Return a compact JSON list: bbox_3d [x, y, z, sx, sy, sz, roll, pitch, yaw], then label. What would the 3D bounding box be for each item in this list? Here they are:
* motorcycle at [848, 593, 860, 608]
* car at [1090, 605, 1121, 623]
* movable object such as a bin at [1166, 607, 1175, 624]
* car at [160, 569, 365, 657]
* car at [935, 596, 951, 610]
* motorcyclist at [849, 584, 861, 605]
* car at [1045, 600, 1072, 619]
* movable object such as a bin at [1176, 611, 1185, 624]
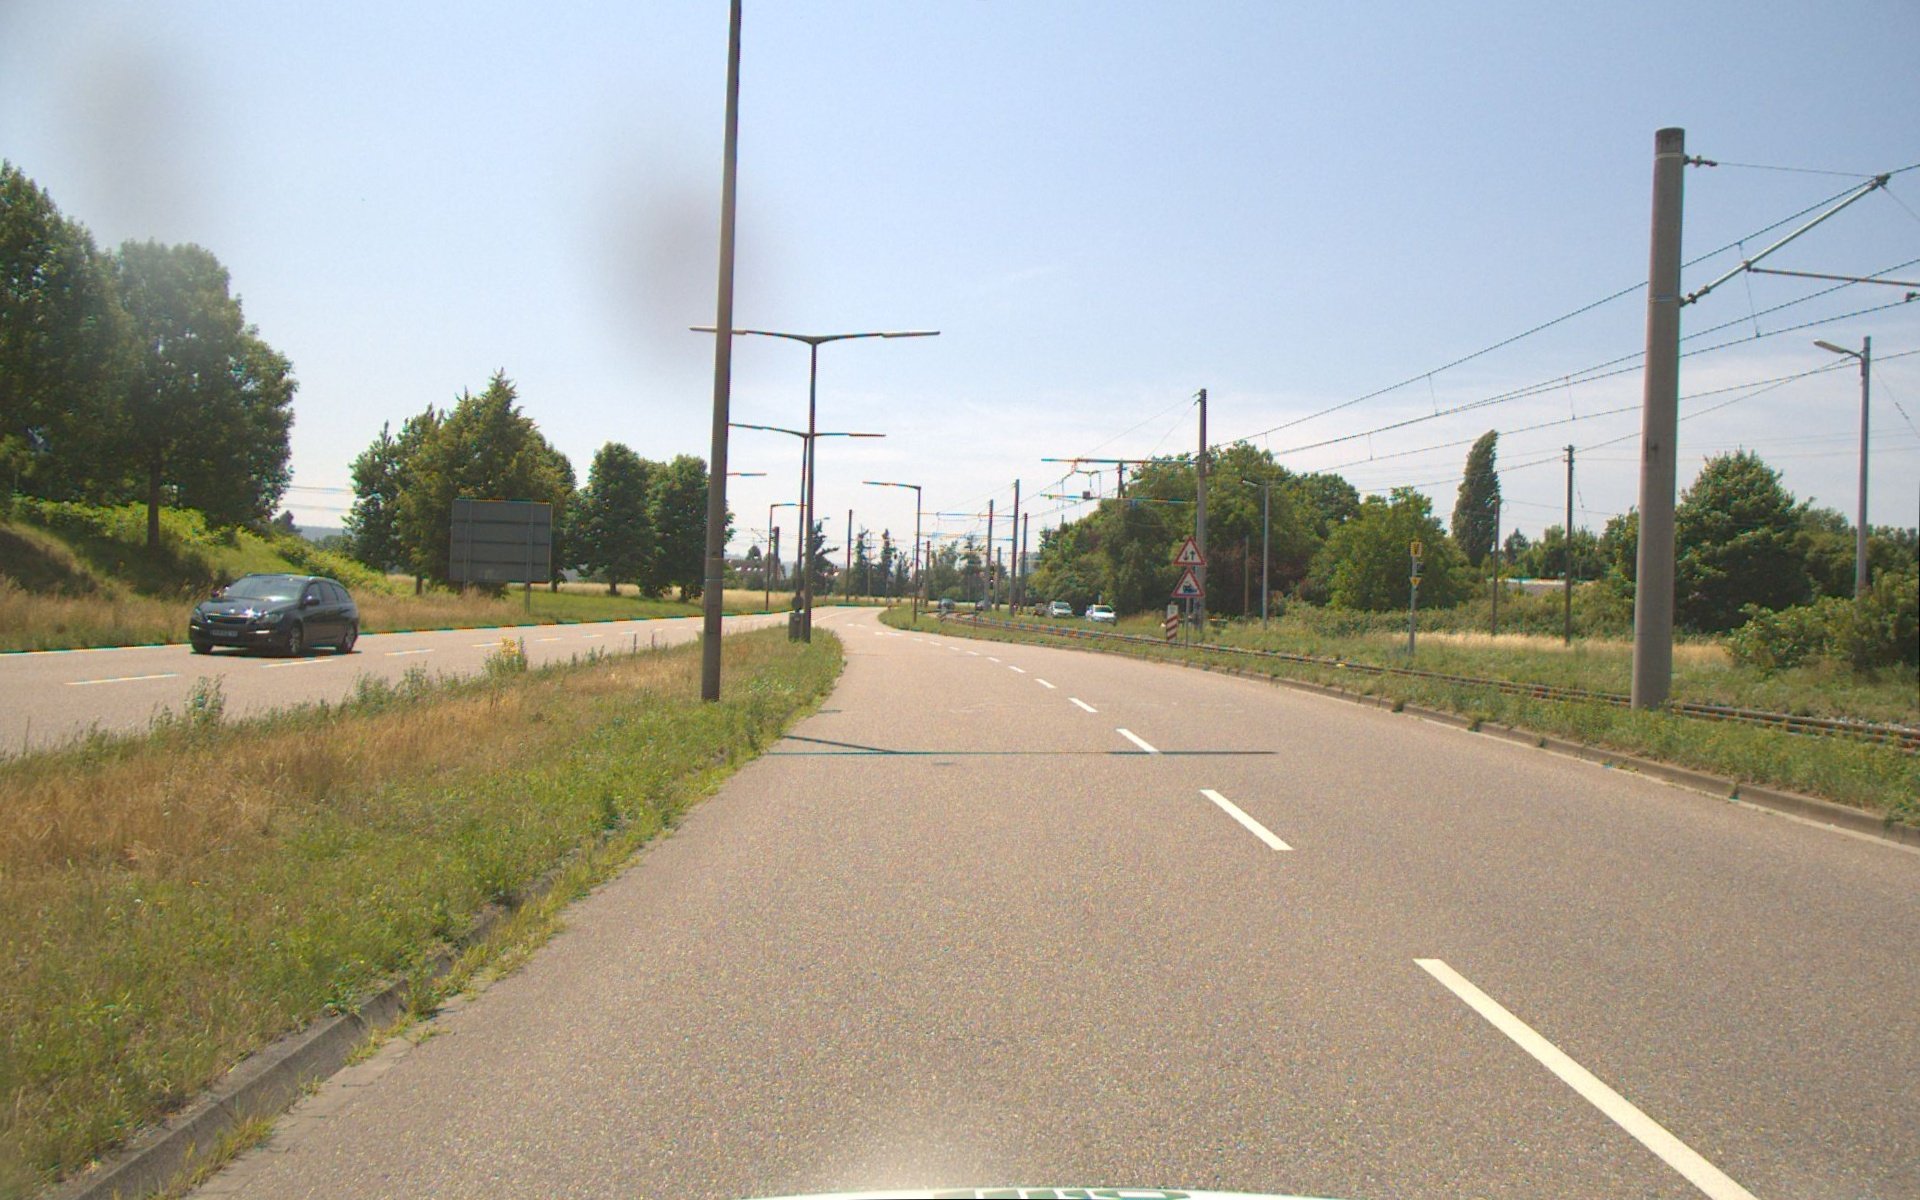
[{"bbox_3d":[-12.293,0.049,192.208,0.969,1.608,3.401,3,-1,1],"label":"motorcycle"},{"bbox_3d":[10.110,0.952,115.120,1.533,1.200,3.074,2,0,-8],"label":"car"},{"bbox_3d":[13.835,1.017,108.682,0.513,1.068,0.500,1,0,6],"label":"movable object such as a bin"},{"bbox_3d":[-12.622,0.207,30.285,1.954,1.383,4.662,3,0,-4],"label":"car"},{"bbox_3d":[-2.361,0.435,231.124,1.374,1.802,3.257,3,-1,11],"label":"car"},{"bbox_3d":[-12.234,-0.628,192.332,1.205,2.392,1.106,3,-1,1],"label":"motorcyclist"},{"bbox_3d":[8.232,0.806,138.627,1.639,1.422,3.646,4,-1,-6],"label":"car"},{"bbox_3d":[14.493,1.158,108.627,0.513,0.879,0.500,2,0,6],"label":"movable object such as a bin"}]
